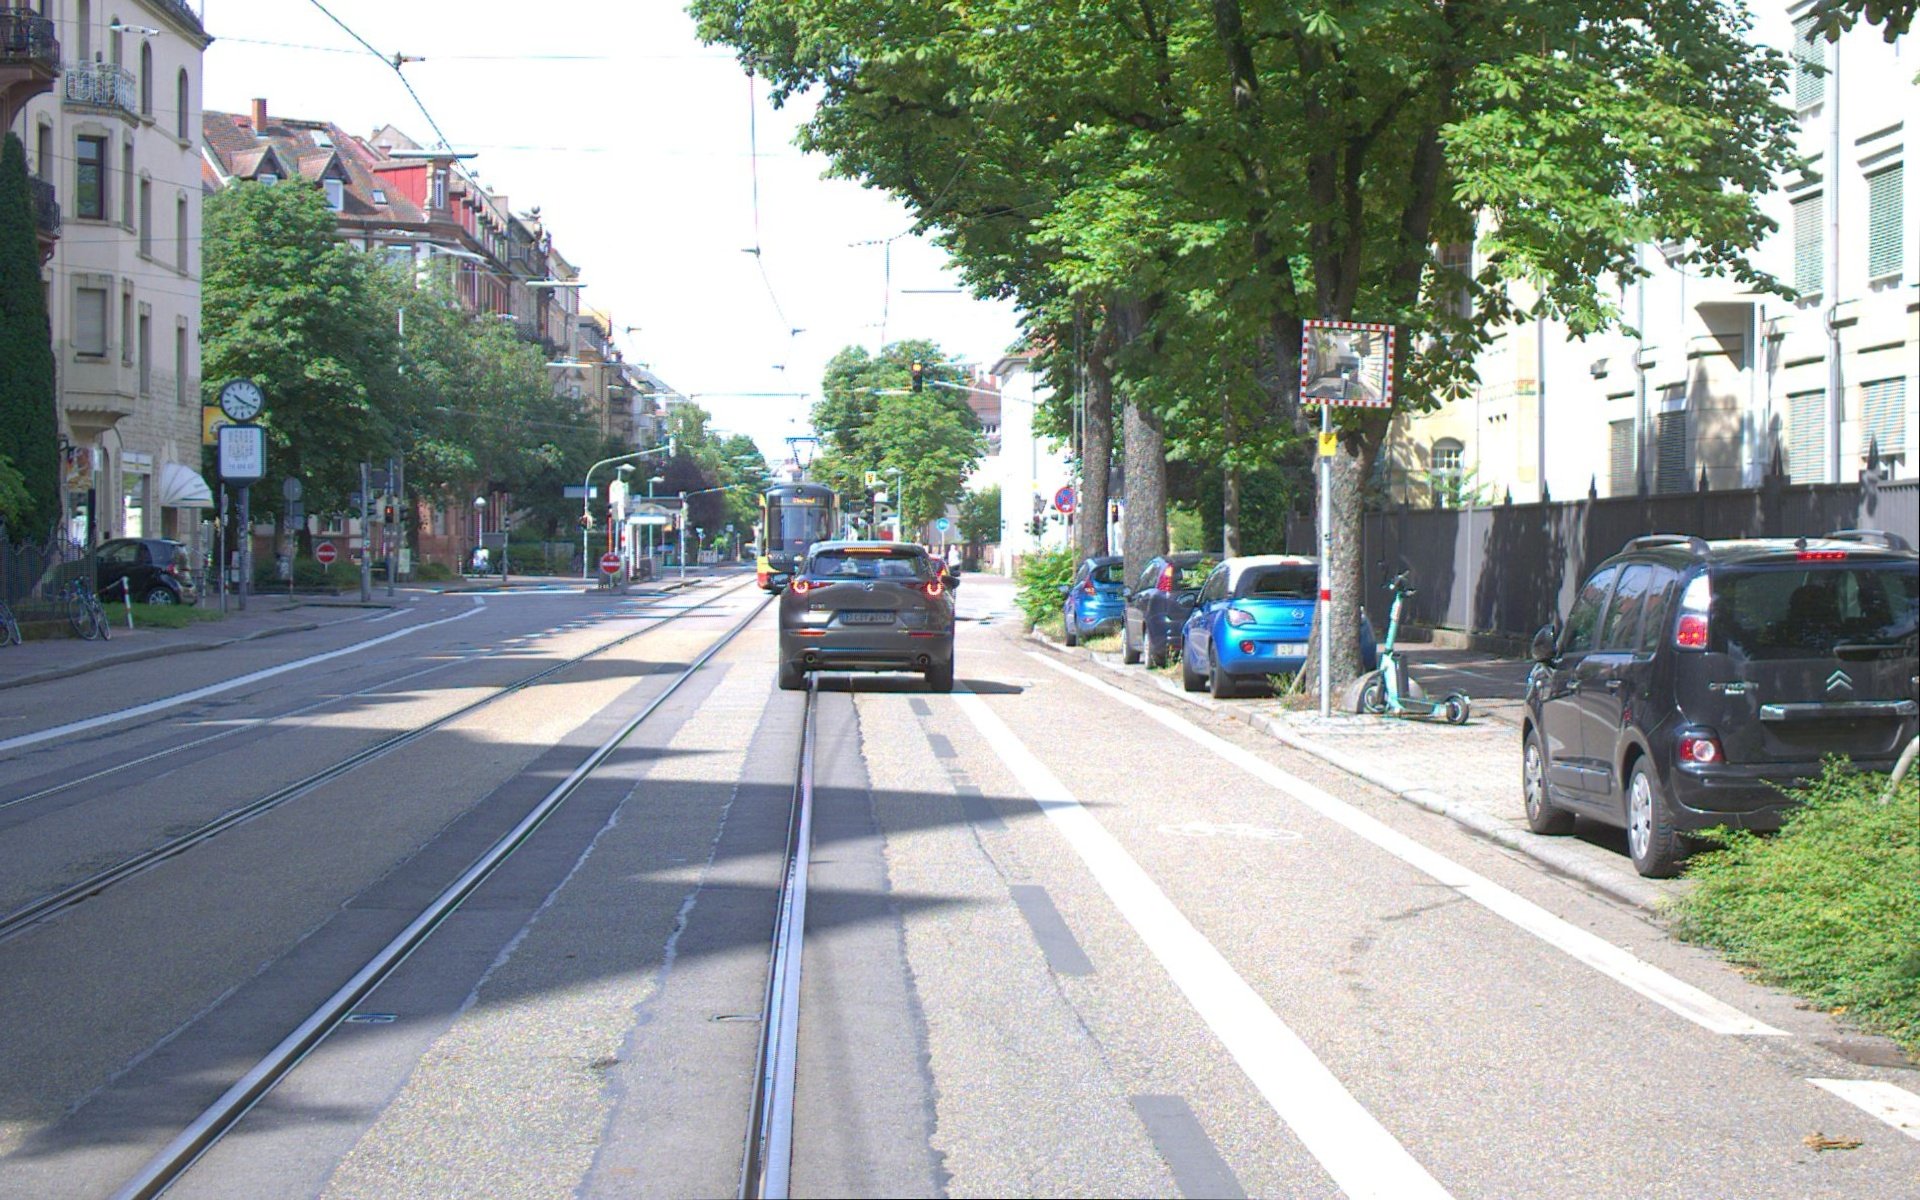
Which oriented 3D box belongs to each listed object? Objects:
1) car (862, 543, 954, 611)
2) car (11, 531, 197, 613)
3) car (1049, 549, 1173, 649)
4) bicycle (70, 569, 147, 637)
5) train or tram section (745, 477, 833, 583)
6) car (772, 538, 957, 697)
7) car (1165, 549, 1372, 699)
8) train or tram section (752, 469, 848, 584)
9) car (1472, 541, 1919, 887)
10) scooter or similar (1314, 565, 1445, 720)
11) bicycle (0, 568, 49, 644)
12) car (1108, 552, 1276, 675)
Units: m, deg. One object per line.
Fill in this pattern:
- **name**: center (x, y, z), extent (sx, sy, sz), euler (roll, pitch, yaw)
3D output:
- **car**: center (-1.220, -0.542, 78.453), extent (1.784, 1.487, 4.884), euler (0, 1, -5)
- **car**: center (-17.082, -0.564, 68.718), extent (3.236, 1.508, 1.679), euler (2, 0, 1)
- **car**: center (2.383, -0.047, 55.001), extent (1.624, 1.491, 3.848), euler (-2, 1, -2)
- **bicycle**: center (-12.694, 0.057, 51.299), extent (0.511, 0.956, 1.815), euler (3, -1, 5)
- **train or tram section**: center (-5.958, -2.372, 118.575), extent (2.651, 3.516, 8.498), euler (0, 0, -5)
- **car**: center (-1.064, 0.138, 36.336), extent (1.789, 1.507, 4.351), euler (1, 1, -3)
- **car**: center (3.257, 0.217, 36.860), extent (1.639, 1.491, 3.627), euler (-1, 1, -4)
- **train or tram section**: center (-5.179, -2.289, 110.072), extent (2.651, 3.516, 8.498), euler (0, 0, -5)
- **car**: center (3.997, 0.504, 18.148), extent (1.696, 1.585, 4.203), euler (-1, 1, -3)
- **scooter or similar**: center (3.647, 0.357, 29.941), extent (0.441, 1.295, 1.182), euler (-4, 3, -33)
- **bicycle**: center (-12.561, 0.072, 45.736), extent (0.426, 0.956, 1.705), euler (2, 1, -1)
- **car**: center (2.976, 0.137, 44.771), extent (1.639, 1.491, 3.758), euler (-1, 1, -4)
